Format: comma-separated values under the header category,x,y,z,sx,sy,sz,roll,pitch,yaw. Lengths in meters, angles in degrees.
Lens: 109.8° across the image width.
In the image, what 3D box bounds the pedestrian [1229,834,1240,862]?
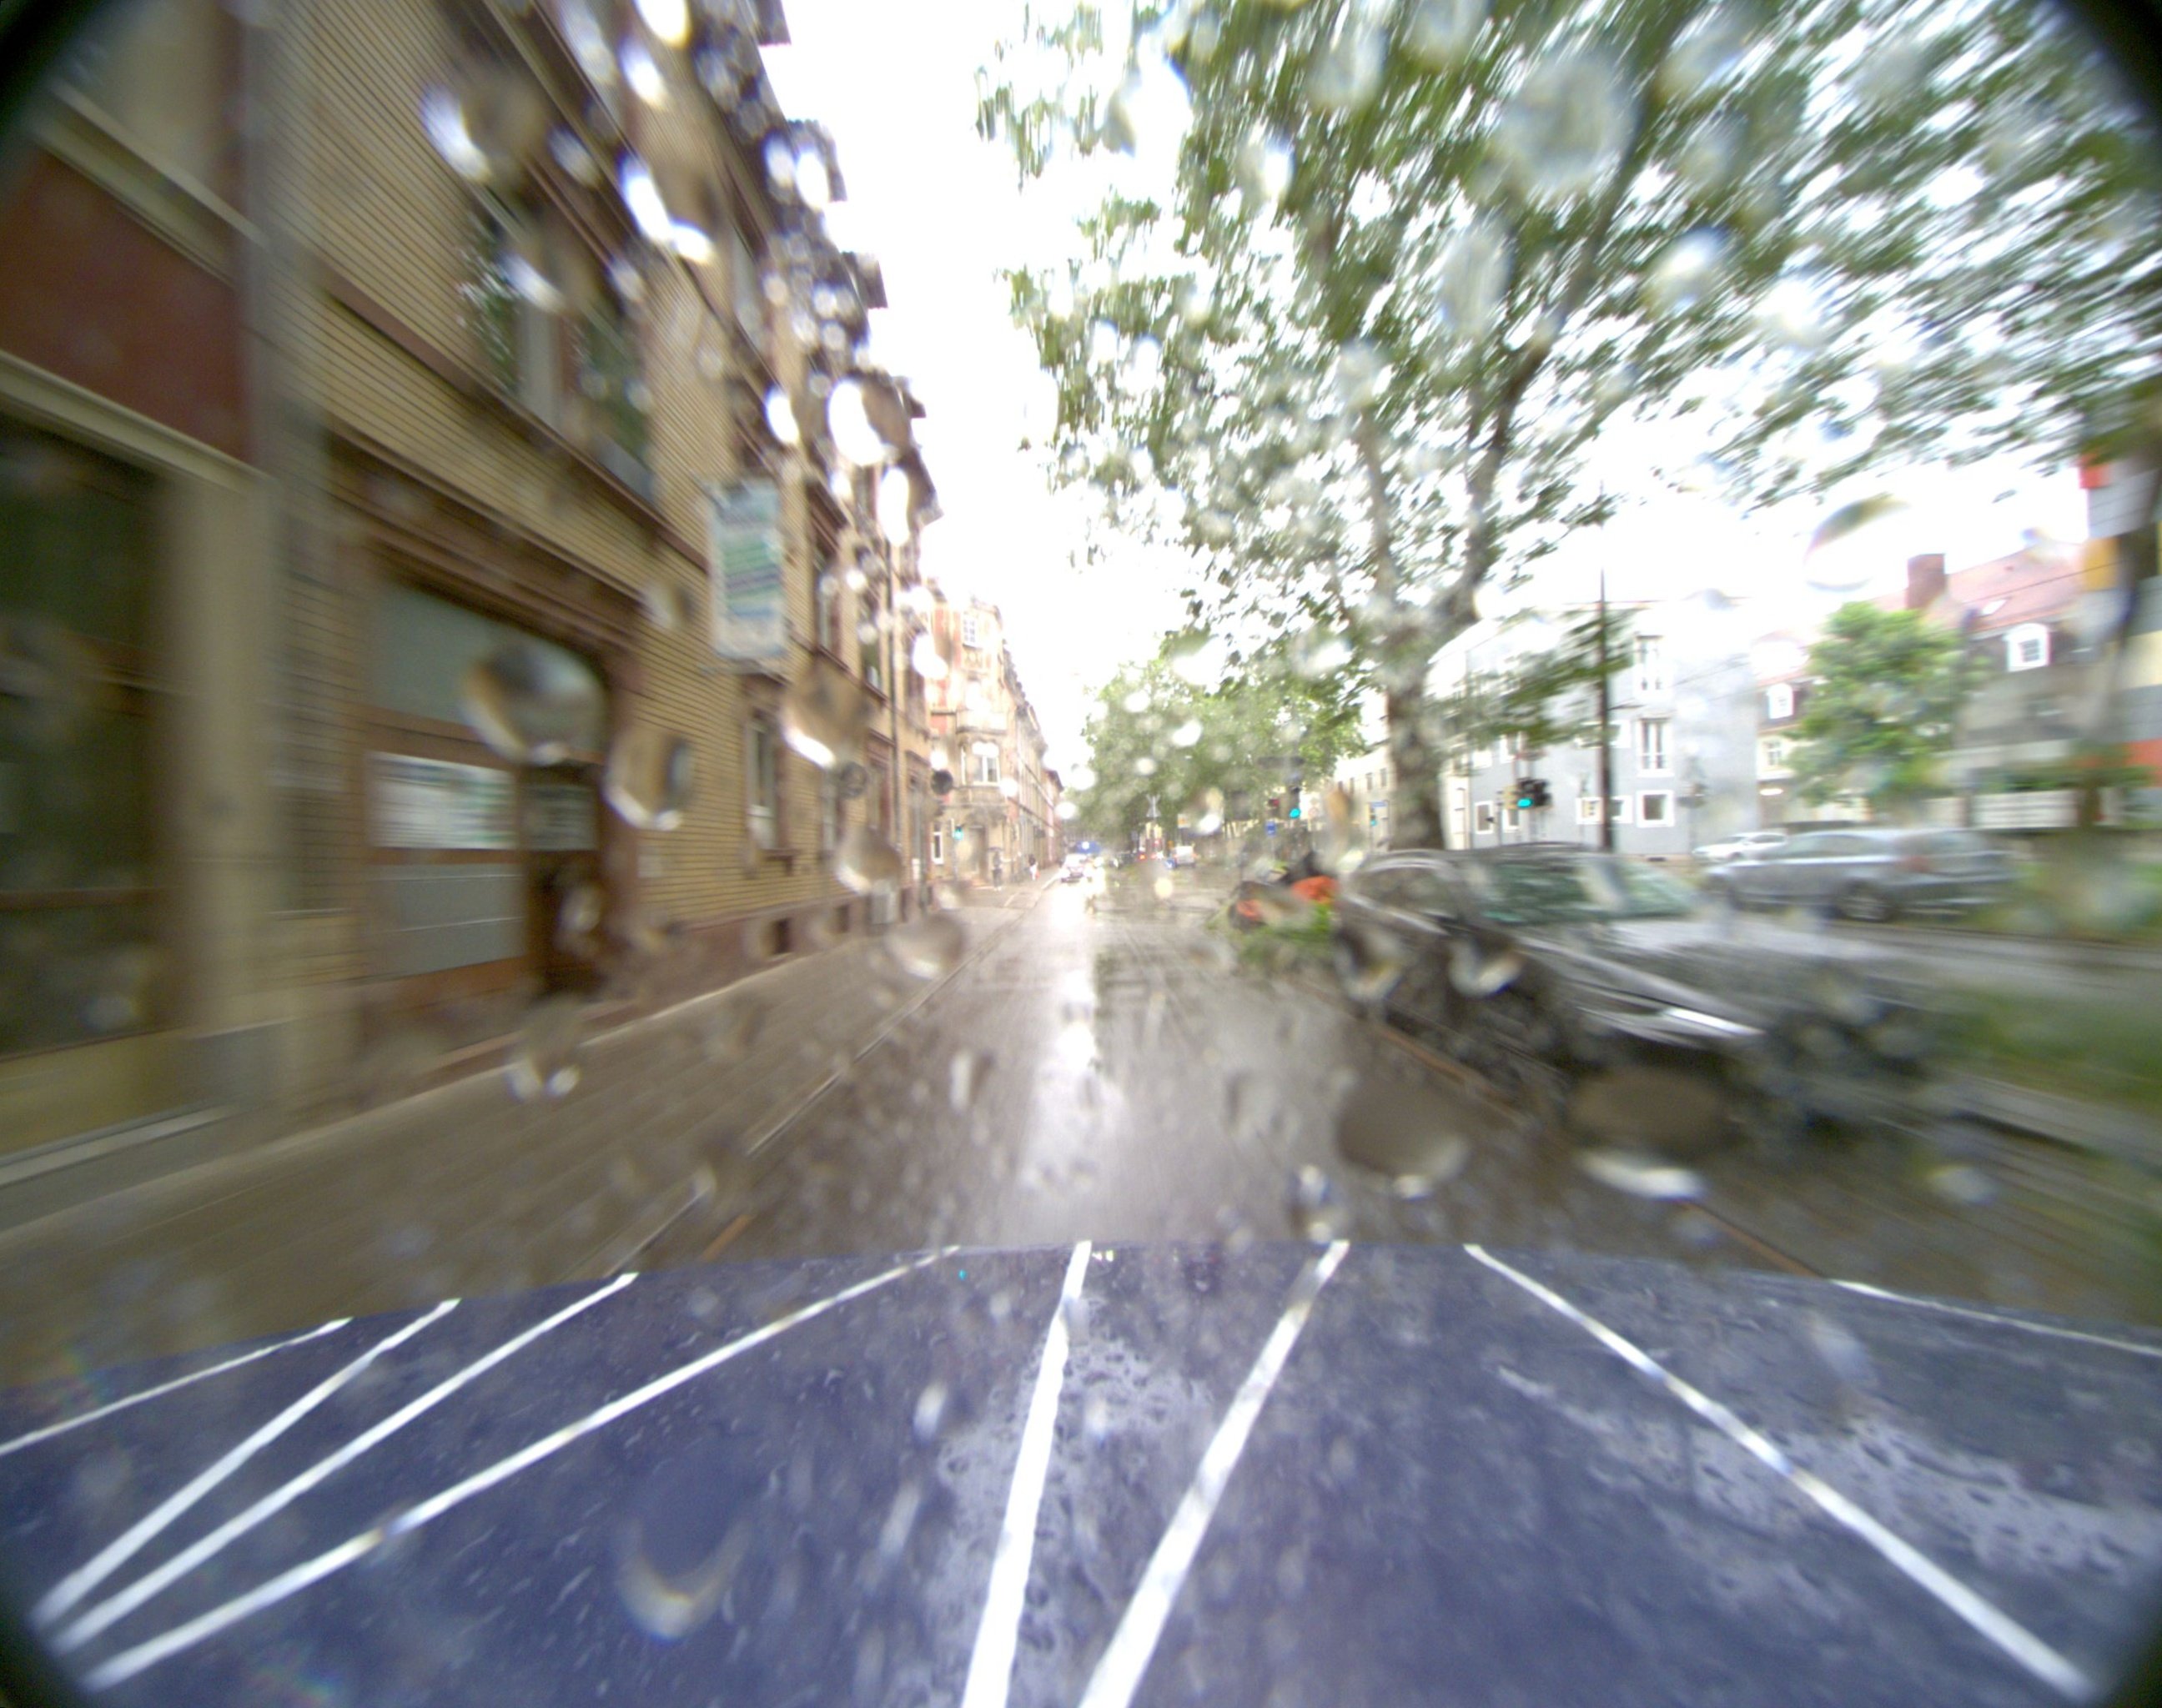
category,x,y,z,sx,sy,sz,roll,pitch,yaw
pedestrian,10.583,-0.413,52.412,0.663,1.844,0.635,-1,0,1

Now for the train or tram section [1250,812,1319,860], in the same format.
category,x,y,z,sx,sy,sz,roll,pitch,yaw
train or tram section,17.138,-1.439,64.988,2.907,3.621,11.551,-2,0,1

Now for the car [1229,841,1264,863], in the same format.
category,x,y,z,sx,sy,sz,roll,pitch,yaw
car,12.422,-0.151,57.181,1.676,1.500,3.974,-4,0,0

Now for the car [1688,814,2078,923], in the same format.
category,x,y,z,sx,sy,sz,roll,pitch,yaw
car,12.695,0.204,12.568,1.908,1.455,4.389,-1,0,2

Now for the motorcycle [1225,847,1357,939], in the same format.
category,x,y,z,sx,sy,sz,roll,pitch,yaw
motorcycle,3.673,0.655,13.410,2.103,1.491,0.773,-1,1,44

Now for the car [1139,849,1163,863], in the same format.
category,x,y,z,sx,sy,sz,roll,pitch,yaw
car,8.288,0.204,90.218,2.062,1.609,4.672,-1,0,-4

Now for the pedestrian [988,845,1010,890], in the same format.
category,x,y,z,sx,sy,sz,roll,pitch,yaw
pedestrian,-3.633,0.592,33.686,0.787,1.902,0.929,3,1,0

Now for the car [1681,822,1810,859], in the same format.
category,x,y,z,sx,sy,sz,roll,pitch,yaw
car,29.313,-0.582,33.606,4.088,1.519,1.888,-1,0,-2

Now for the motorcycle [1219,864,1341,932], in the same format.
category,x,y,z,sx,sy,sz,roll,pitch,yaw
motorcycle,3.848,0.814,14.815,0.871,1.202,2.136,-2,1,-45

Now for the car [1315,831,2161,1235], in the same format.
category,x,y,z,sx,sy,sz,roll,pitch,yaw
car,3.262,0.691,5.201,1.901,1.476,4.621,-2,0,1

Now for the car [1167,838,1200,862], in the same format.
category,x,y,z,sx,sy,sz,roll,pitch,yaw
car,8.267,-0.276,61.488,1.937,1.838,4.065,-1,0,-3

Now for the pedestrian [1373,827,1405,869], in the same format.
category,x,y,z,sx,sy,sz,roll,pitch,yaw
pedestrian,13.519,-0.256,33.390,0.938,1.789,1.206,-1,1,0

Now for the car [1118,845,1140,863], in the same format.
category,x,y,z,sx,sy,sz,roll,pitch,yaw
car,4.139,-0.016,66.191,1.732,1.473,4.006,-1,0,1

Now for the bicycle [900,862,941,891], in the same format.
category,x,y,z,sx,sy,sz,roll,pitch,yaw
bicycle,-7.202,1.020,34.193,1.691,1.215,0.678,-2,1,-6

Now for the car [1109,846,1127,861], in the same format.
category,x,y,z,sx,sy,sz,roll,pitch,yaw
car,4.186,-0.044,85.601,1.663,1.567,3.424,-1,0,7

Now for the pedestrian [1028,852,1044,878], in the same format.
category,x,y,z,sx,sy,sz,roll,pitch,yaw
pedestrian,-2.822,0.689,48.049,0.849,1.564,0.576,4,0,1

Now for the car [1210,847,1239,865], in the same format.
category,x,y,z,sx,sy,sz,roll,pitch,yaw
car,12.343,0.148,65.588,1.676,1.376,3.705,-4,0,0

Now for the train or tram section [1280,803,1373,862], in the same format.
category,x,y,z,sx,sy,sz,roll,pitch,yaw
train or tram section,16.915,-1.363,53.413,2.907,3.621,11.551,-2,0,1

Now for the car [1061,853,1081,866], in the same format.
category,x,y,z,sx,sy,sz,roll,pitch,yaw
car,-1.136,0.658,87.419,1.976,1.359,4.162,4,0,3
